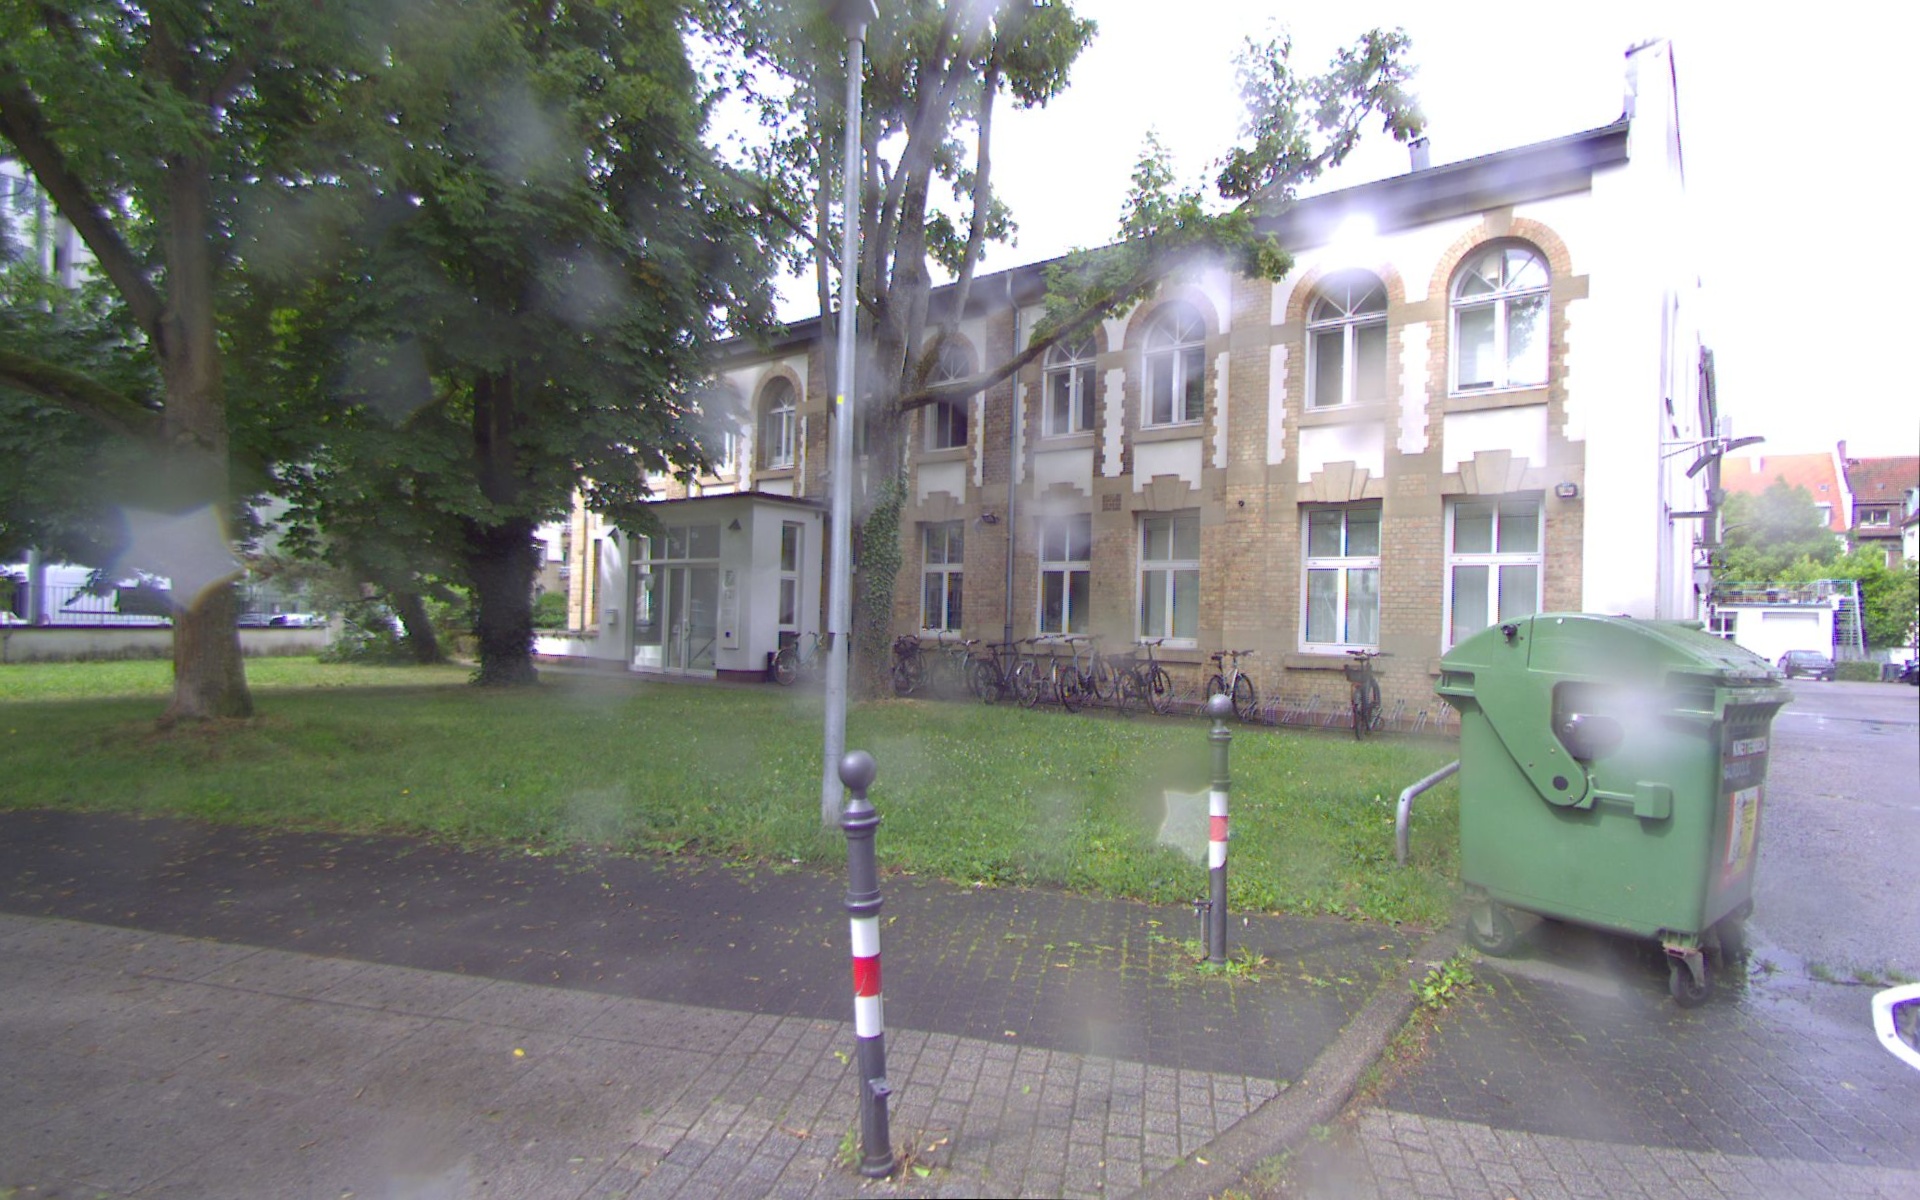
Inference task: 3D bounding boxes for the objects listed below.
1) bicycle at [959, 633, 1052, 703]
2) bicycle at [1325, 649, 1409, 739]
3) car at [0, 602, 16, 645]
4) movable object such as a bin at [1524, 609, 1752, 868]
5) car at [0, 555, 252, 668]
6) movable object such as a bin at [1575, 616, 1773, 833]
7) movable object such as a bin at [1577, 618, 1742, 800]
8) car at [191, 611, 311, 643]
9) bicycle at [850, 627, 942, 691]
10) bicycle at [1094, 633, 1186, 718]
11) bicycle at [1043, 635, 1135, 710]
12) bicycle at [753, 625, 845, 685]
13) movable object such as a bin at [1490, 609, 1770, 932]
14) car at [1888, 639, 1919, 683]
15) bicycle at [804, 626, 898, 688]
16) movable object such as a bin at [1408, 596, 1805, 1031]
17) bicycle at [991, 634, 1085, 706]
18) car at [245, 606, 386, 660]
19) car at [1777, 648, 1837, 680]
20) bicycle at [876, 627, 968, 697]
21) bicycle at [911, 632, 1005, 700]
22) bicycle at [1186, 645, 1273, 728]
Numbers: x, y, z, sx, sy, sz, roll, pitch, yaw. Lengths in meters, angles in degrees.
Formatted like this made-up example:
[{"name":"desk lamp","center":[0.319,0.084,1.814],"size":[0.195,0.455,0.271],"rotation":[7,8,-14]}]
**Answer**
[{"name":"bicycle","center":[0.806,1.166,17.292],"size":[0.607,1.130,1.919],"rotation":[-1,-3,37]},{"name":"bicycle","center":[5.540,1.243,13.616],"size":[0.607,1.130,1.781],"rotation":[-1,-3,37]},{"name":"car","center":[-35.539,0.814,34.453],"size":[4.349,1.472,1.868],"rotation":[0,-1,-34]},{"name":"movable object such as a bin","center":[4.546,0.834,6.809],"size":[1.148,1.503,1.399],"rotation":[1,-1,33]},{"name":"car","center":[-21.084,0.356,25.342],"size":[2.097,2.543,5.278],"rotation":[-1,-2,10]},{"name":"movable object such as a bin","center":[5.536,0.903,7.906],"size":[1.148,1.502,1.493],"rotation":[-1,-3,32]},{"name":"movable object such as a bin","center":[6.394,0.945,9.288],"size":[1.148,1.502,1.591],"rotation":[-1,-3,32]},{"name":"car","center":[-33.428,1.249,47.502],"size":[4.383,1.472,1.893],"rotation":[0,-1,-27]},{"name":"bicycle","center":[-1.169,1.093,18.777],"size":[0.607,1.130,1.919],"rotation":[-1,-3,37]},{"name":"bicycle","center":[2.847,1.170,15.719],"size":[0.607,1.240,1.919],"rotation":[-1,-3,37]},{"name":"bicycle","center":[2.116,1.159,16.268],"size":[0.607,1.130,1.919],"rotation":[-1,-3,37]},{"name":"bicycle","center":[-3.184,1.098,20.056],"size":[0.607,1.130,1.919],"rotation":[-1,-3,37]},{"name":"movable object such as a bin","center":[3.698,0.820,5.674],"size":[1.147,1.503,1.400],"rotation":[1,1,31]},{"name":"car","center":[47.119,2.895,47.286],"size":[4.565,2.030,2.222],"rotation":[0,-2,28]},{"name":"bicycle","center":[-2.058,1.086,19.193],"size":[0.607,1.130,1.919],"rotation":[-1,-3,37]},{"name":"movable object such as a bin","center":[2.849,0.768,4.395],"size":[1.475,1.492,1.091],"rotation":[3,-1,-42]},{"name":"bicycle","center":[1.328,1.160,16.792],"size":[0.607,1.130,1.919],"rotation":[-1,-3,37]},{"name":"car","center":[-20.079,1.042,31.452],"size":[1.875,1.571,3.373],"rotation":[0,-2,12]},{"name":"car","center":[42.390,3.181,50.355],"size":[1.953,1.463,3.987],"rotation":[1,-1,35]},{"name":"bicycle","center":[-0.665,1.090,18.298],"size":[0.607,1.192,1.919],"rotation":[0,-1,37]},{"name":"bicycle","center":[-0.010,1.166,17.853],"size":[0.607,1.130,1.919],"rotation":[-1,-3,37]},{"name":"bicycle","center":[3.996,1.254,14.830],"size":[0.607,1.130,1.781],"rotation":[-1,-3,37]}]
